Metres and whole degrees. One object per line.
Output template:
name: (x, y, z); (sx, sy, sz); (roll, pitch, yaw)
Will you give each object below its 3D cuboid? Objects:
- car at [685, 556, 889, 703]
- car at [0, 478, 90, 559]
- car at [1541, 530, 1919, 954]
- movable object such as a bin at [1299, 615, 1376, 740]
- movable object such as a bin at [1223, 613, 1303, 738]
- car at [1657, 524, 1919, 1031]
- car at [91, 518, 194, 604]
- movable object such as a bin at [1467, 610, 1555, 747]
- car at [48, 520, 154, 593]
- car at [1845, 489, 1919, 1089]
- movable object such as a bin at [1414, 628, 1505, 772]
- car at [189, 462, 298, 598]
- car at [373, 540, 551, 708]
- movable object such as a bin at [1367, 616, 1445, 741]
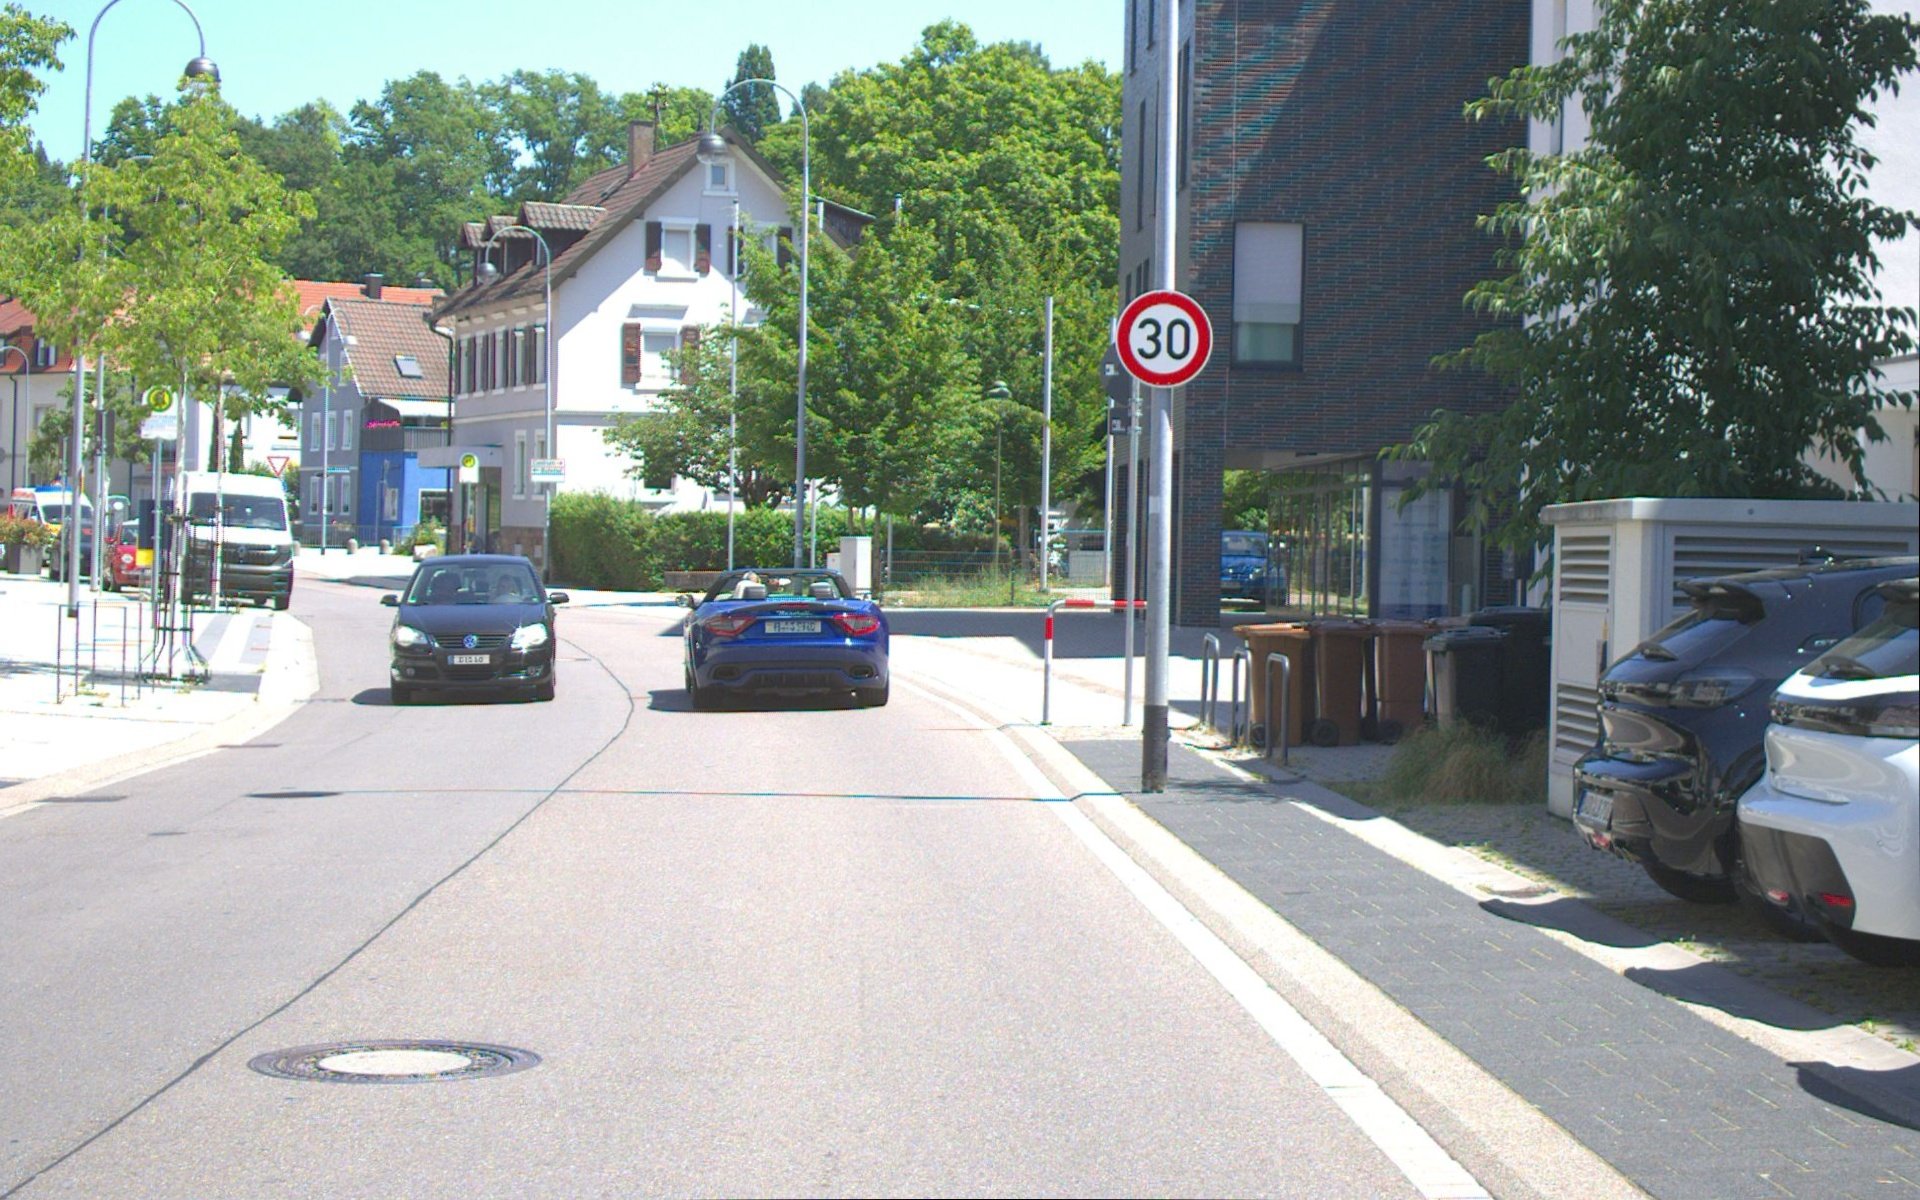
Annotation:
car: (-1.661, 0.245, 34.183); (1.870, 1.337, 4.596); (-1, 1, -1)
car: (-28.153, -2.505, 105.178); (1.866, 2.392, 4.819); (1, 1, -28)
car: (4.435, 0.535, 13.404); (3.980, 1.524, 1.741); (1, 0, -2)
movable object such as a bin: (2.873, 0.589, 26.193); (0.495, 0.926, 0.623); (-1, 0, -1)
movable object such as a bin: (2.305, 0.572, 26.211); (0.537, 0.926, 0.623); (-1, 0, -1)
car: (4.535, 0.560, 11.404); (3.980, 1.524, 1.943); (1, 0, -2)
car: (-17.216, -0.812, 72.309); (1.993, 1.732, 4.001); (1, 0, -15)
movable object such as a bin: (3.821, 0.540, 23.873); (0.495, 0.926, 0.623); (-1, 0, -1)
car: (-21.047, -1.086, 84.138); (1.993, 1.686, 4.001); (1, 1, -21)
car: (4.567, 0.540, 8.918); (3.980, 1.599, 1.943); (1, 0, -2)
movable object such as a bin: (3.314, 0.660, 22.835); (0.495, 0.926, 0.623); (-1, 0, -1)
car: (-13.329, -1.295, 63.795); (1.866, 2.392, 4.820); (1, 1, -13)
car: (-5.063, 0.205, 35.318); (1.660, 1.601, 4.001); (-1, 1, -6)
movable object such as a bin: (3.394, 0.591, 26.207); (0.495, 0.926, 0.623); (-1, 0, -1)
